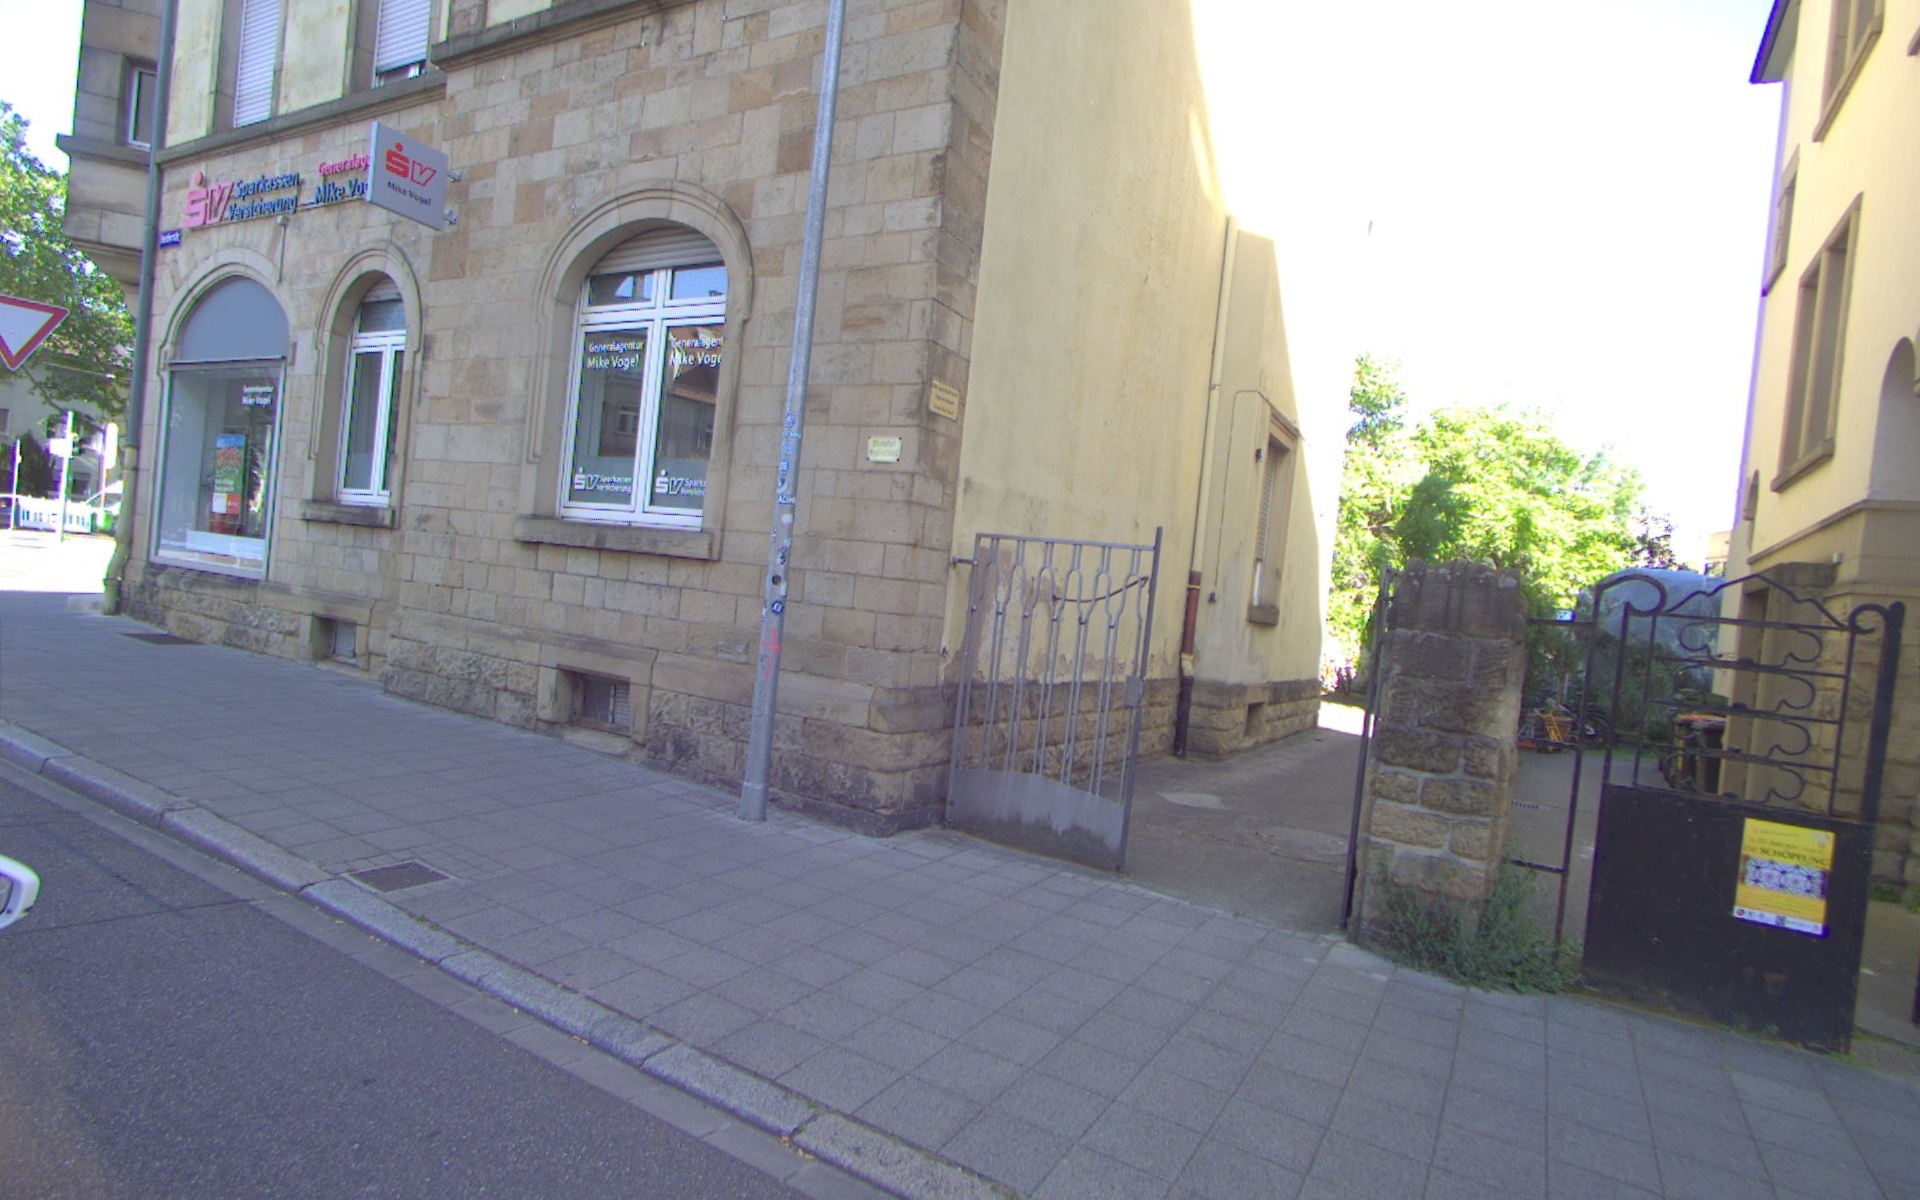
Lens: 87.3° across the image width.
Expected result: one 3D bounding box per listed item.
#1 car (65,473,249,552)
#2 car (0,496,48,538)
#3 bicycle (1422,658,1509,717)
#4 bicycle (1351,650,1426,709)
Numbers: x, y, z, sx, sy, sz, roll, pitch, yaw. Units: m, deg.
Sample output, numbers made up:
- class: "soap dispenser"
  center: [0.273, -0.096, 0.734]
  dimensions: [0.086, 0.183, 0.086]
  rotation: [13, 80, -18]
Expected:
- class: "car"
  center: [-34.203, -3.642, 43.139]
  dimensions: [1.962, 2.600, 6.061]
  rotation: [7, 0, 14]
- class: "car"
  center: [-38.446, -3.396, 39.691]
  dimensions: [1.496, 1.506, 3.391]
  rotation: [7, 0, 10]
- class: "bicycle"
  center: [12.309, 2.101, 24.612]
  dimensions: [0.855, 1.124, 2.864]
  rotation: [6, 0, 7]
- class: "bicycle"
  center: [10.622, 1.942, 25.082]
  dimensions: [0.860, 1.180, 2.659]
  rotation: [6, 0, 6]
